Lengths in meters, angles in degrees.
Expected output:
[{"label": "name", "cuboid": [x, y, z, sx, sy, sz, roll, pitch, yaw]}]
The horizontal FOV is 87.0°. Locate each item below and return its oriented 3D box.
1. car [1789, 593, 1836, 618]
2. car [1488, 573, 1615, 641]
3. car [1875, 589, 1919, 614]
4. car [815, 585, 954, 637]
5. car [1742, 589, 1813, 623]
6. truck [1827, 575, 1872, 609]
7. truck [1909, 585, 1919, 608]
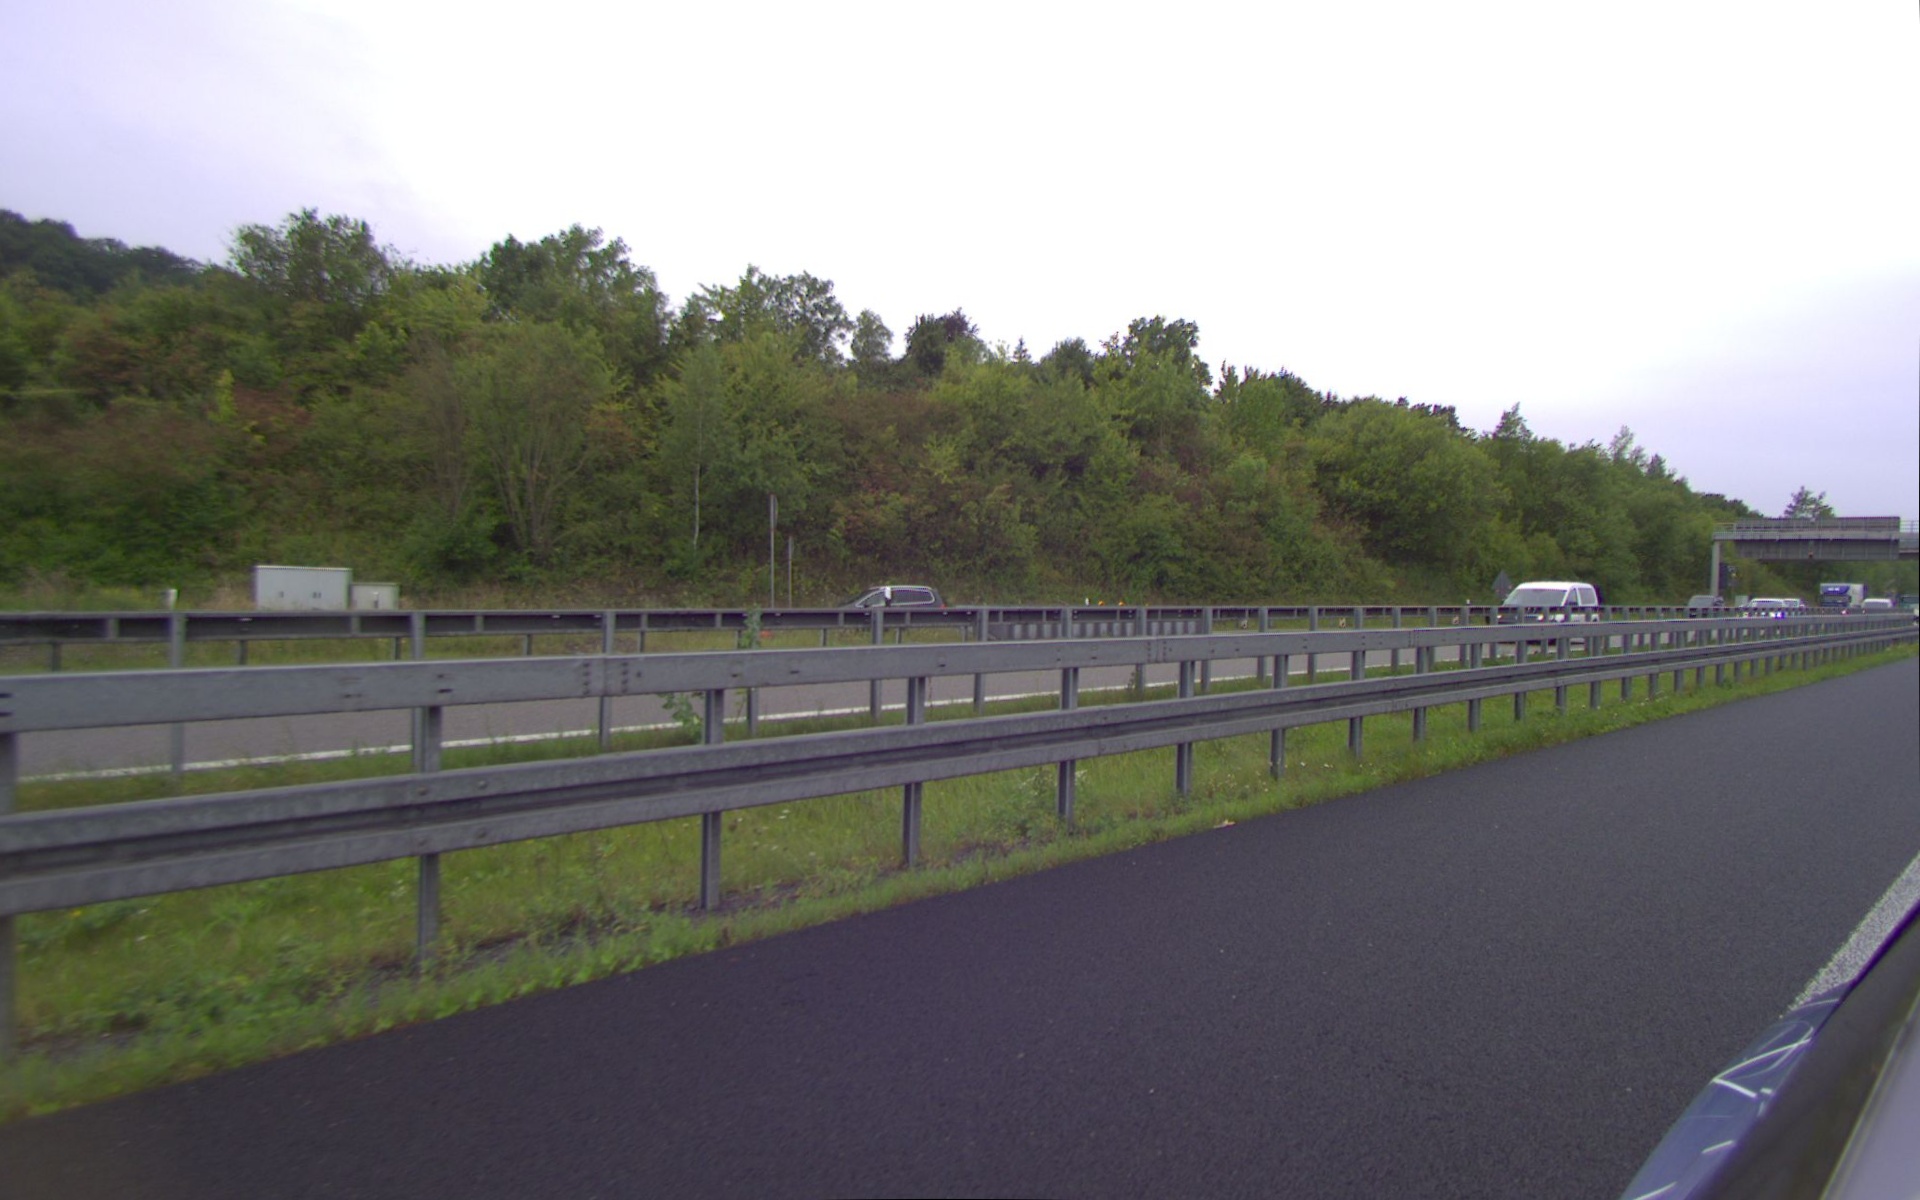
[{"label": "car", "cuboid": [58.879, 0.362, 69.862, 4.074, 1.633, 1.900, 0, 1, -41]}, {"label": "car", "cuboid": [17.228, 0.151, 29.386, 4.567, 1.828, 1.863, 0, 1, -42]}, {"label": "car", "cuboid": [71.226, 0.080, 76.932, 4.201, 1.837, 2.011, 0, 1, -41]}, {"label": "car", "cuboid": [-2.468, 0.316, 33.025, 4.152, 1.602, 1.869, 0, 1, -25]}, {"label": "car", "cuboid": [40.388, 0.269, 49.956, 4.614, 1.567, 2.011, 0, 1, -42]}, {"label": "truck", "cuboid": [94.072, -0.827, 106.967, 9.130, 3.460, 2.903, 0, 1, -44]}, {"label": "truck", "cuboid": [146.079, -0.529, 152.947, 13.129, 3.460, 2.905, 0, 1, -43]}]
